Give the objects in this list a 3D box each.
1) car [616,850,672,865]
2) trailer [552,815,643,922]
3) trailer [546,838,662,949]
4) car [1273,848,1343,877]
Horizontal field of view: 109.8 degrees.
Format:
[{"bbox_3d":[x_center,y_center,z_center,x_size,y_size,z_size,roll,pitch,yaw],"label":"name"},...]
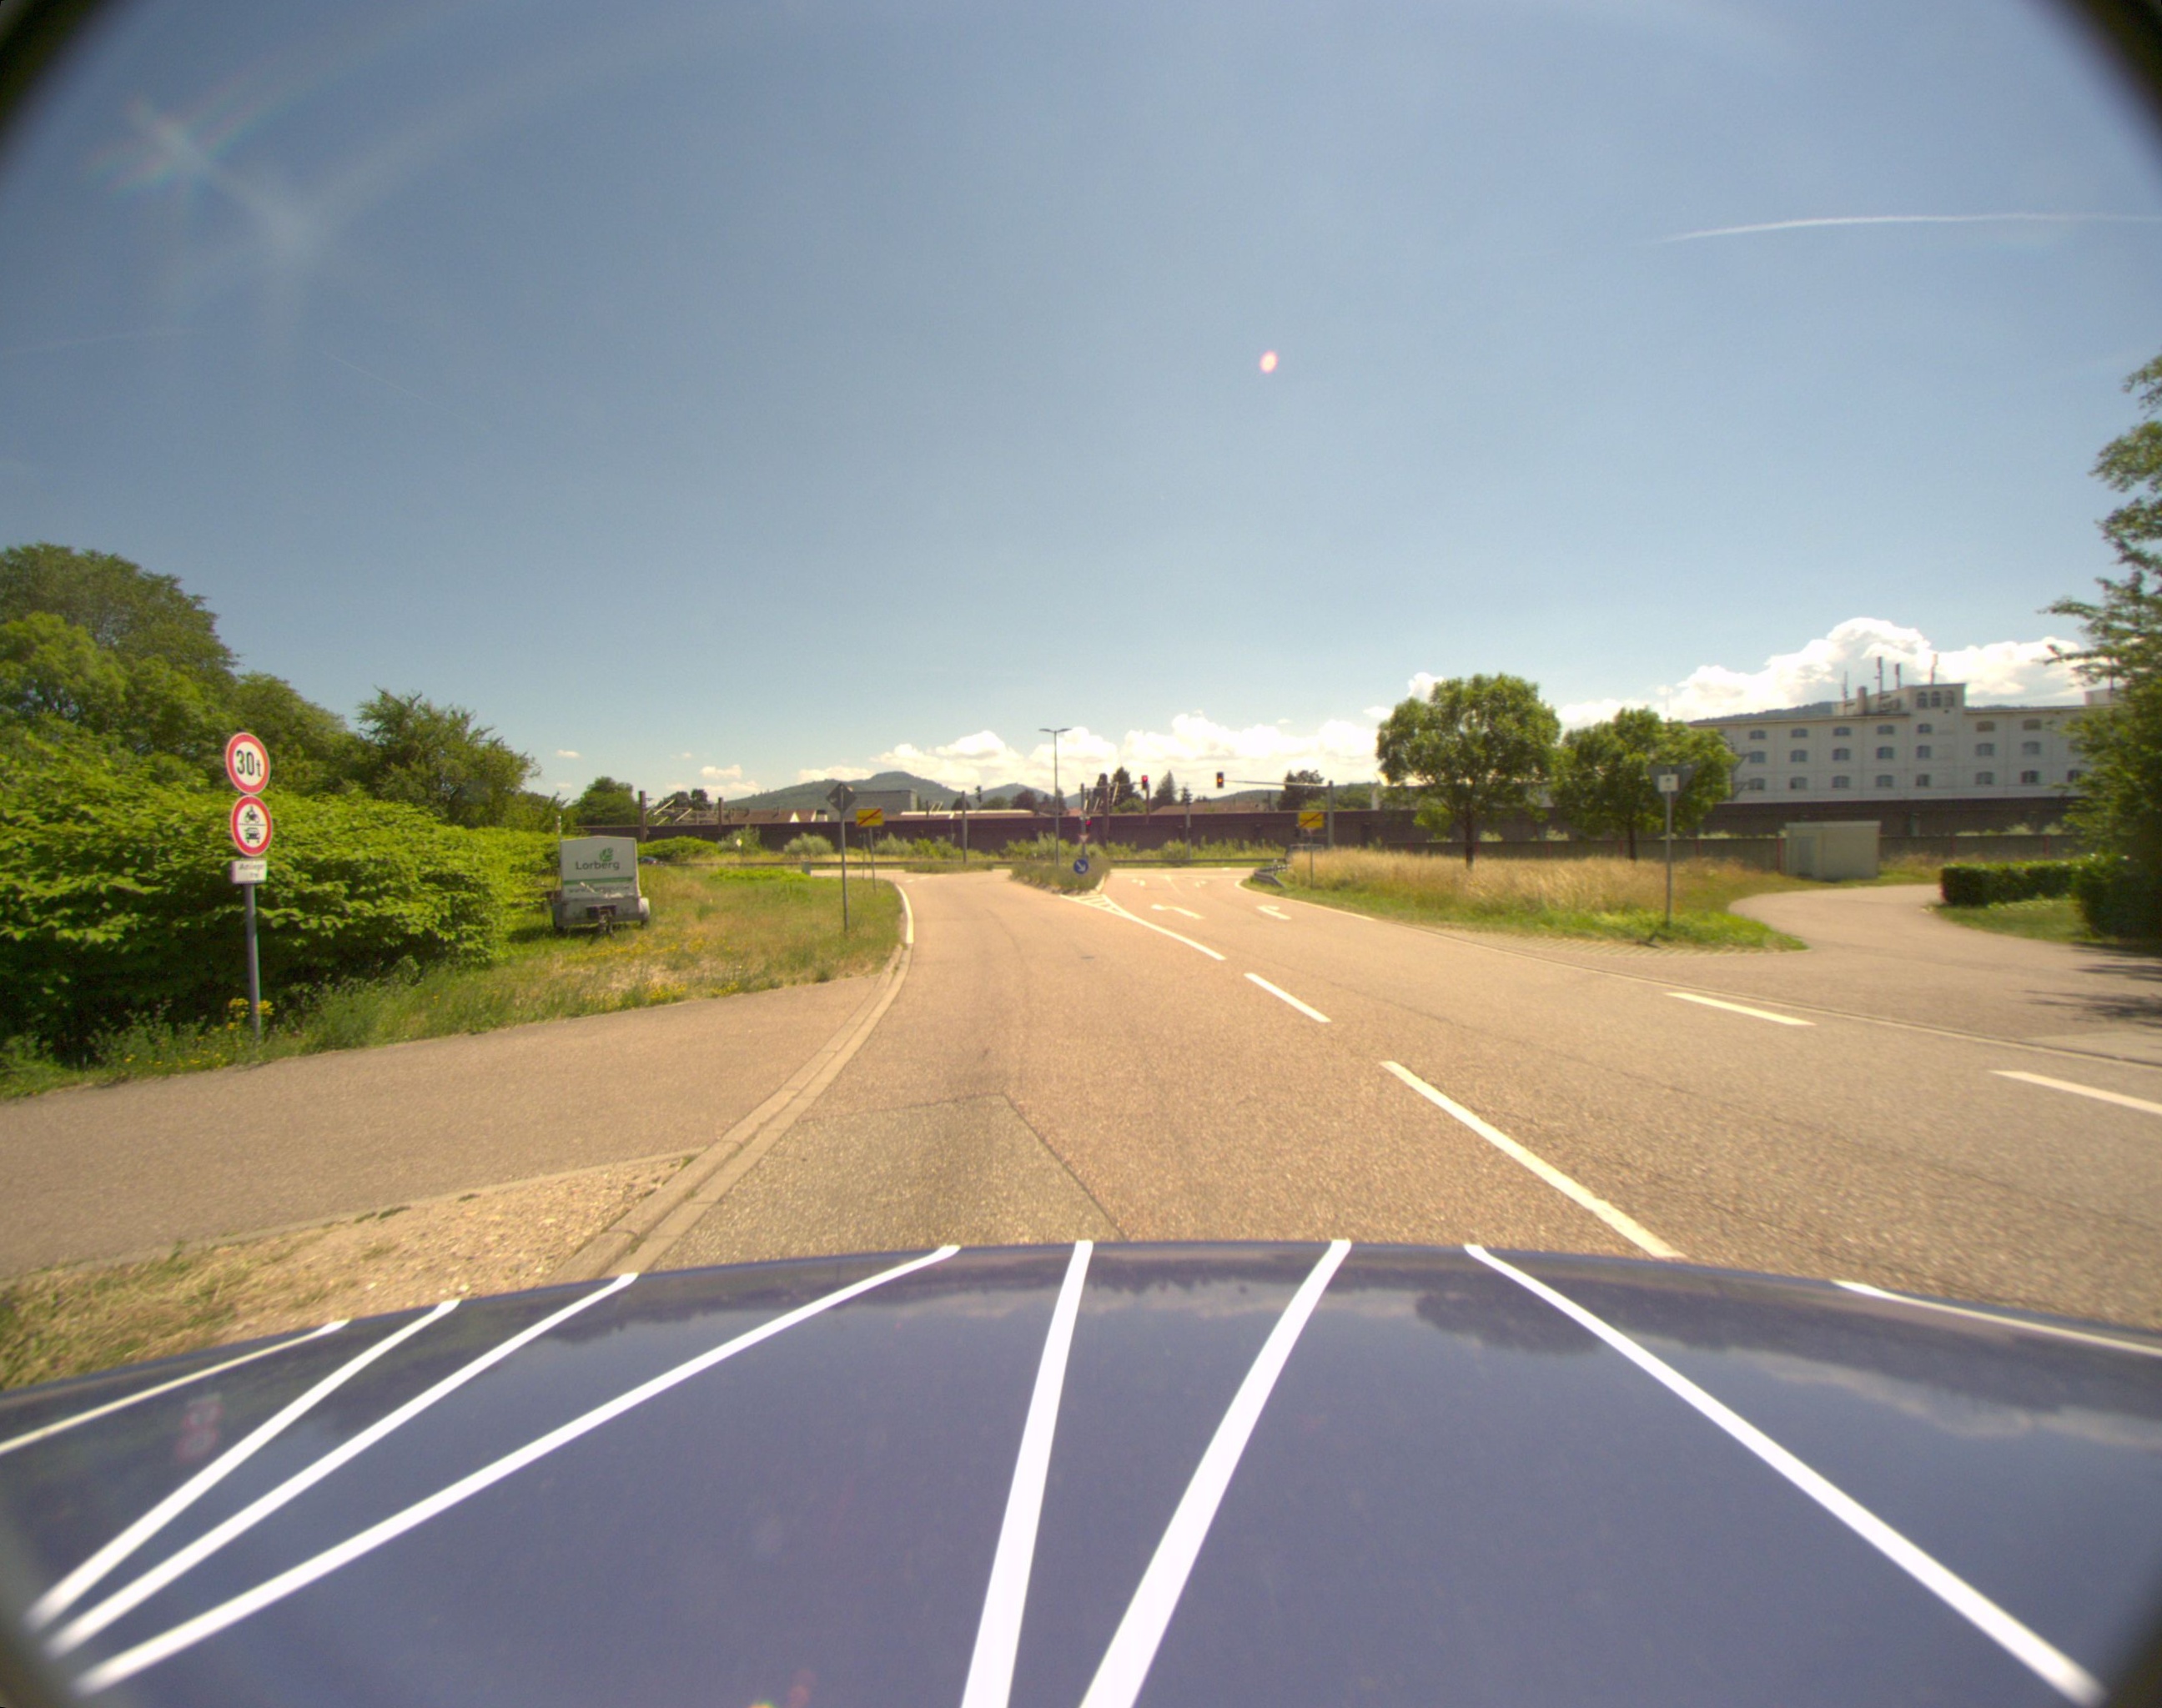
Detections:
[{"bbox_3d":[-41.680,0.340,72.485,4.510,1.446,1.790,0,1,12],"label":"car"},{"bbox_3d":[-13.168,0.329,20.681,1.855,2.655,3.139,-2,2,-34],"label":"trailer"},{"bbox_3d":[-10.398,0.730,16.546,1.855,2.066,3.959,-2,2,-34],"label":"trailer"},{"bbox_3d":[15.222,0.520,50.878,4.491,1.713,1.994,-1,3,-31],"label":"car"}]
